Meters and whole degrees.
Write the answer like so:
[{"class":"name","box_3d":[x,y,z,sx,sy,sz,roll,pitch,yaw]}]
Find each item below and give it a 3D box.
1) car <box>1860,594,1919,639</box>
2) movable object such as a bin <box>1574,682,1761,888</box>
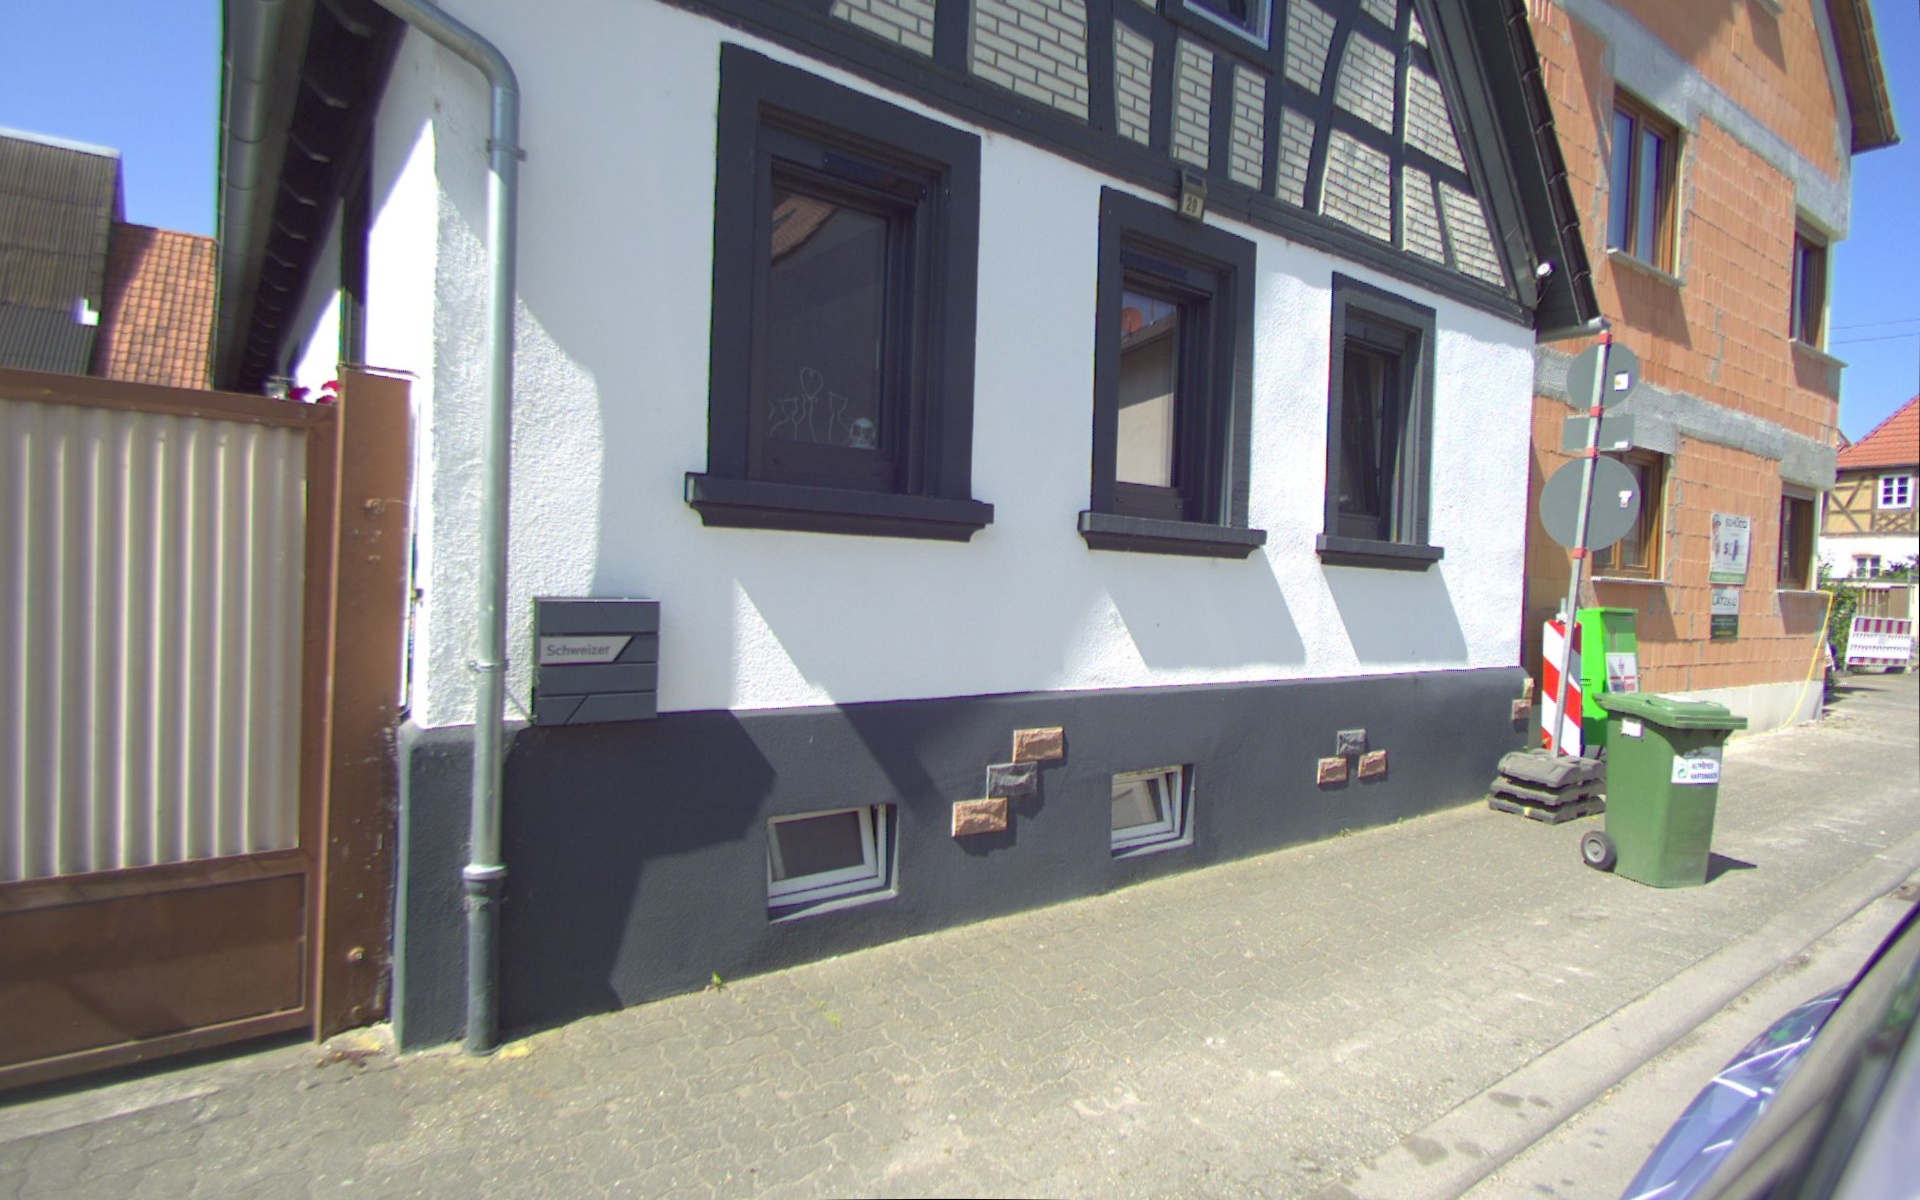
[{"class":"car","box_3d":[33.847,0.650,34.137,1.958,1.470,4.778,1,2,-25]},{"class":"movable object such as a bin","box_3d":[3.611,0.914,5.190,0.540,0.925,0.541,1,1,-19]}]
